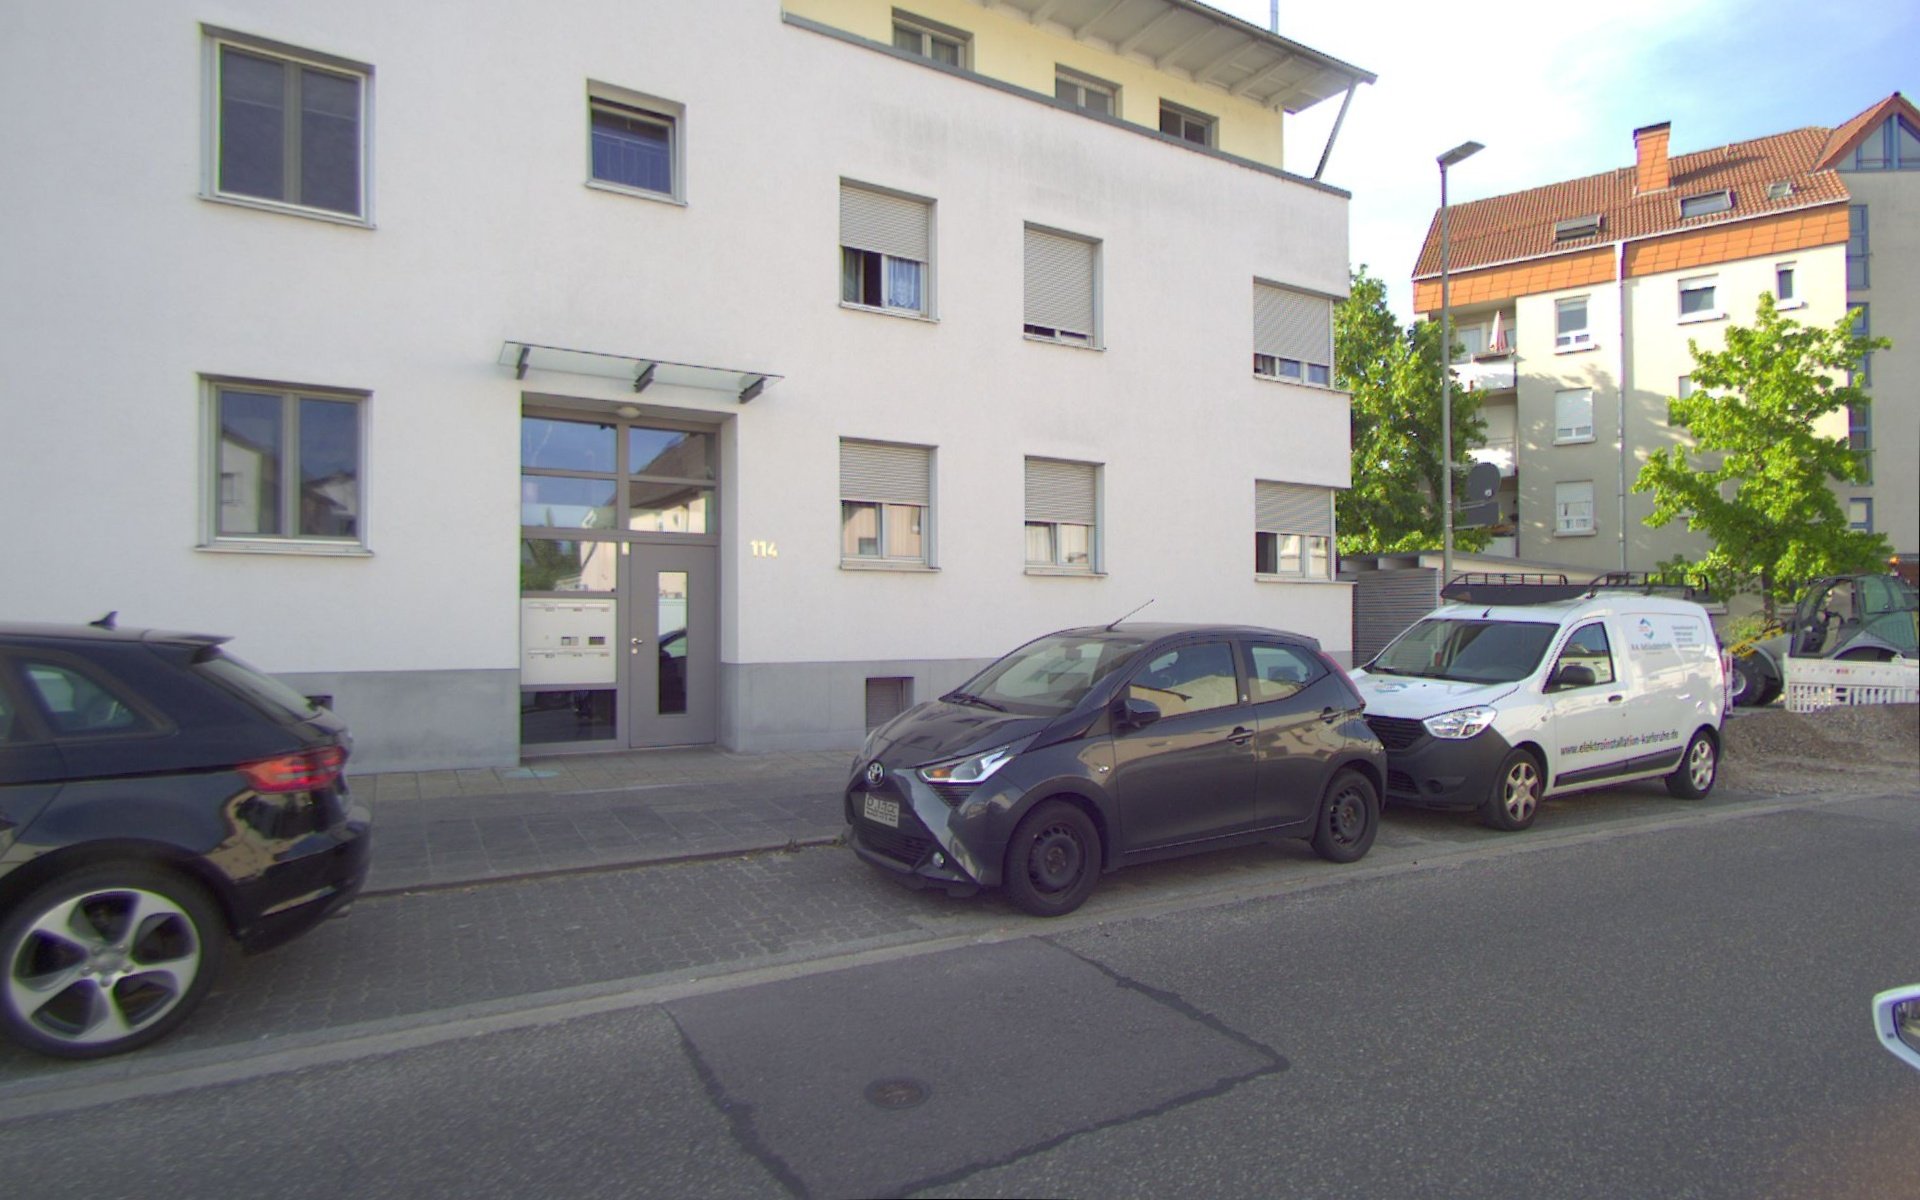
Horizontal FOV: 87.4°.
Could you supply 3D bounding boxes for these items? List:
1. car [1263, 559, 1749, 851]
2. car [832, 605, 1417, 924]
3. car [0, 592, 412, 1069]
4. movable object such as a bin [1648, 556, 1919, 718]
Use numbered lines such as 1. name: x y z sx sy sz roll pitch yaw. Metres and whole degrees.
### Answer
1. car: 4.831 0.748 8.713 4.387 1.987 1.719 1 -1 -31
2. car: 1.103 0.799 6.248 3.474 1.484 1.485 1 0 -31
3. car: -4.292 0.721 3.326 4.219 1.497 1.716 1 -1 -34
4. movable object such as a bin: 17.293 0.689 20.144 2.095 2.939 5.450 0 0 -41
